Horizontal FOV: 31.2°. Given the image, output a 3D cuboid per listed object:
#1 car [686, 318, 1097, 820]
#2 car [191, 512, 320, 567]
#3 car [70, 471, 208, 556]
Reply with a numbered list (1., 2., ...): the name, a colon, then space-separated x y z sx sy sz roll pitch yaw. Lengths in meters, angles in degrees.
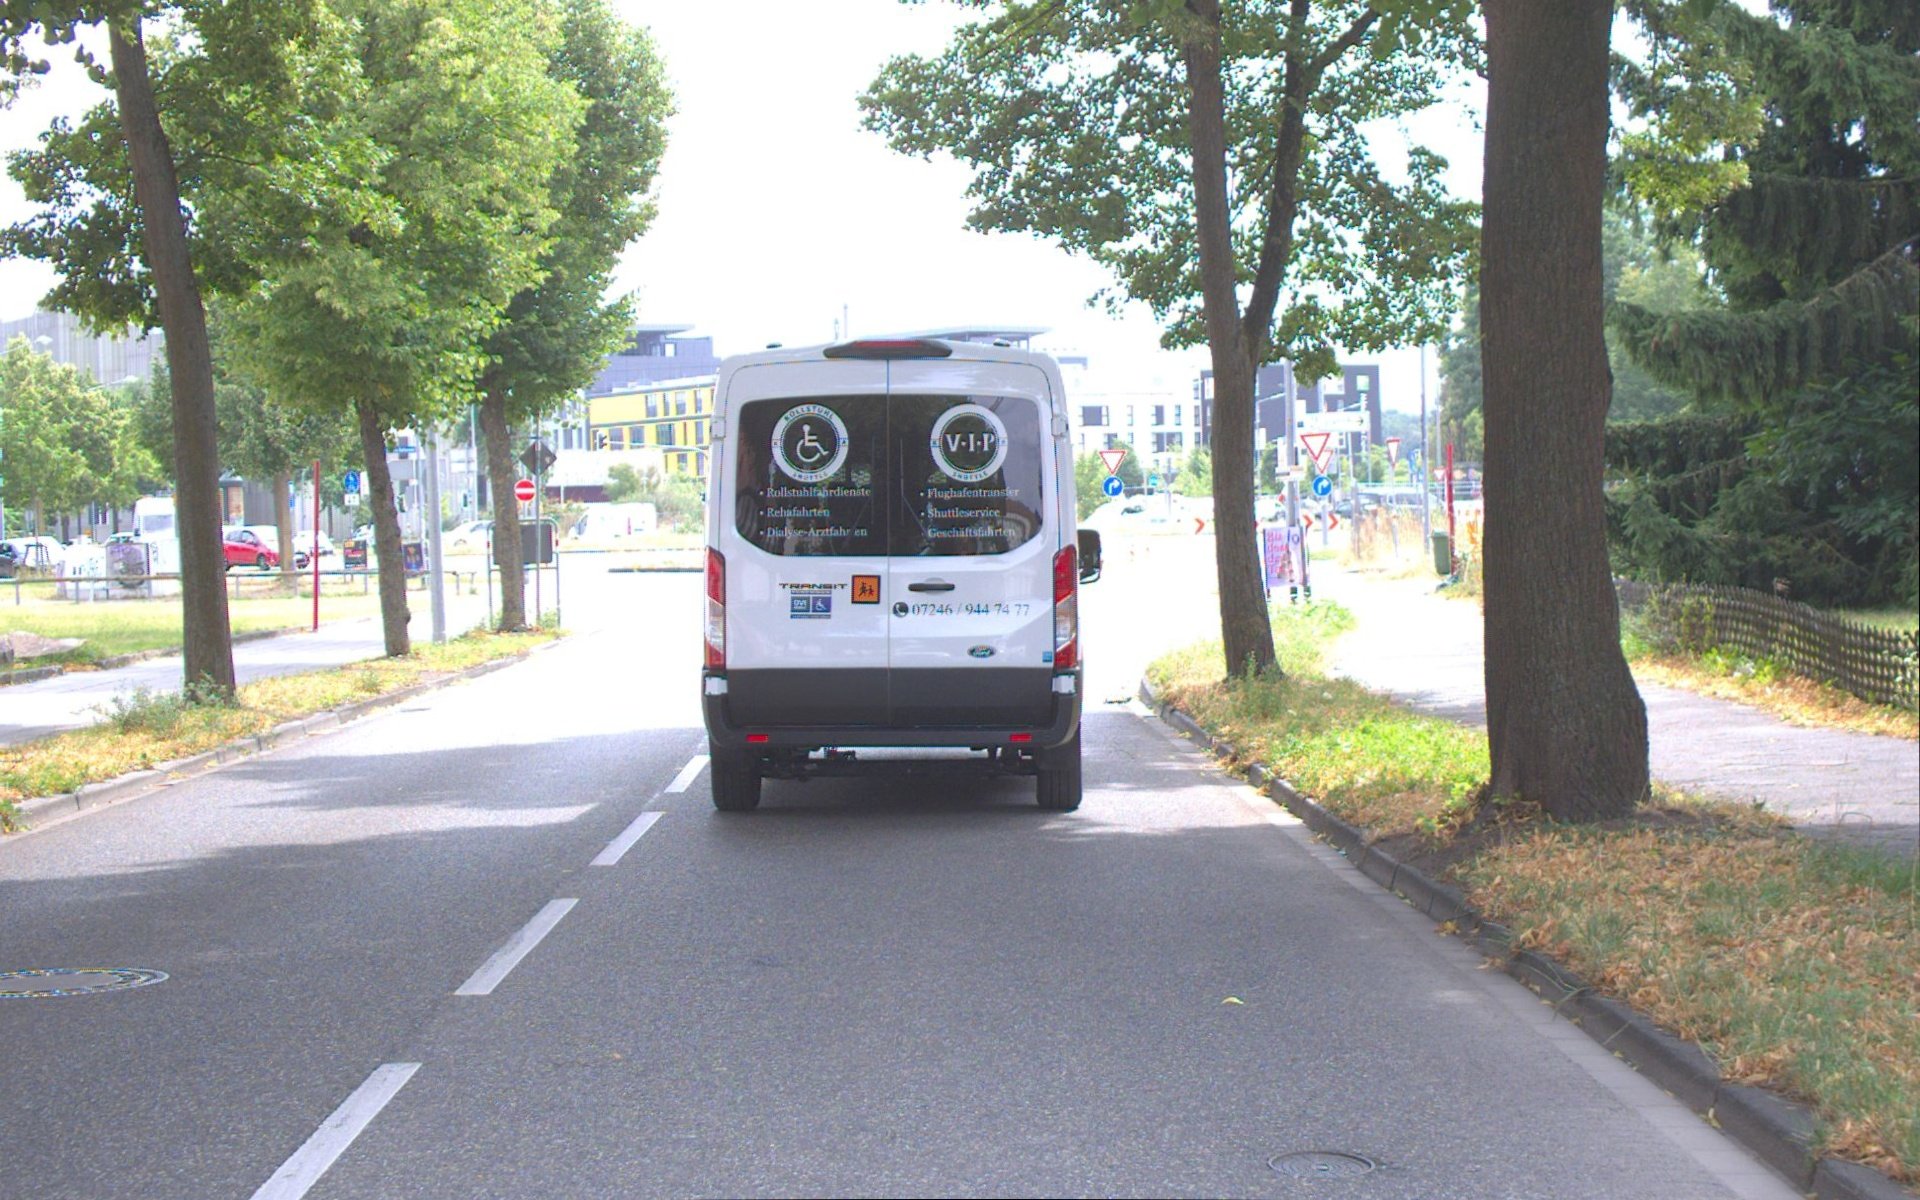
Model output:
1. car: -0.413 -0.212 19.446 2.062 2.531 4.001 1 2 -2
2. car: -24.096 -2.064 117.541 3.993 1.656 1.888 -2 2 31
3. car: -30.440 -3.184 127.347 2.612 2.841 5.673 -4 2 -39
